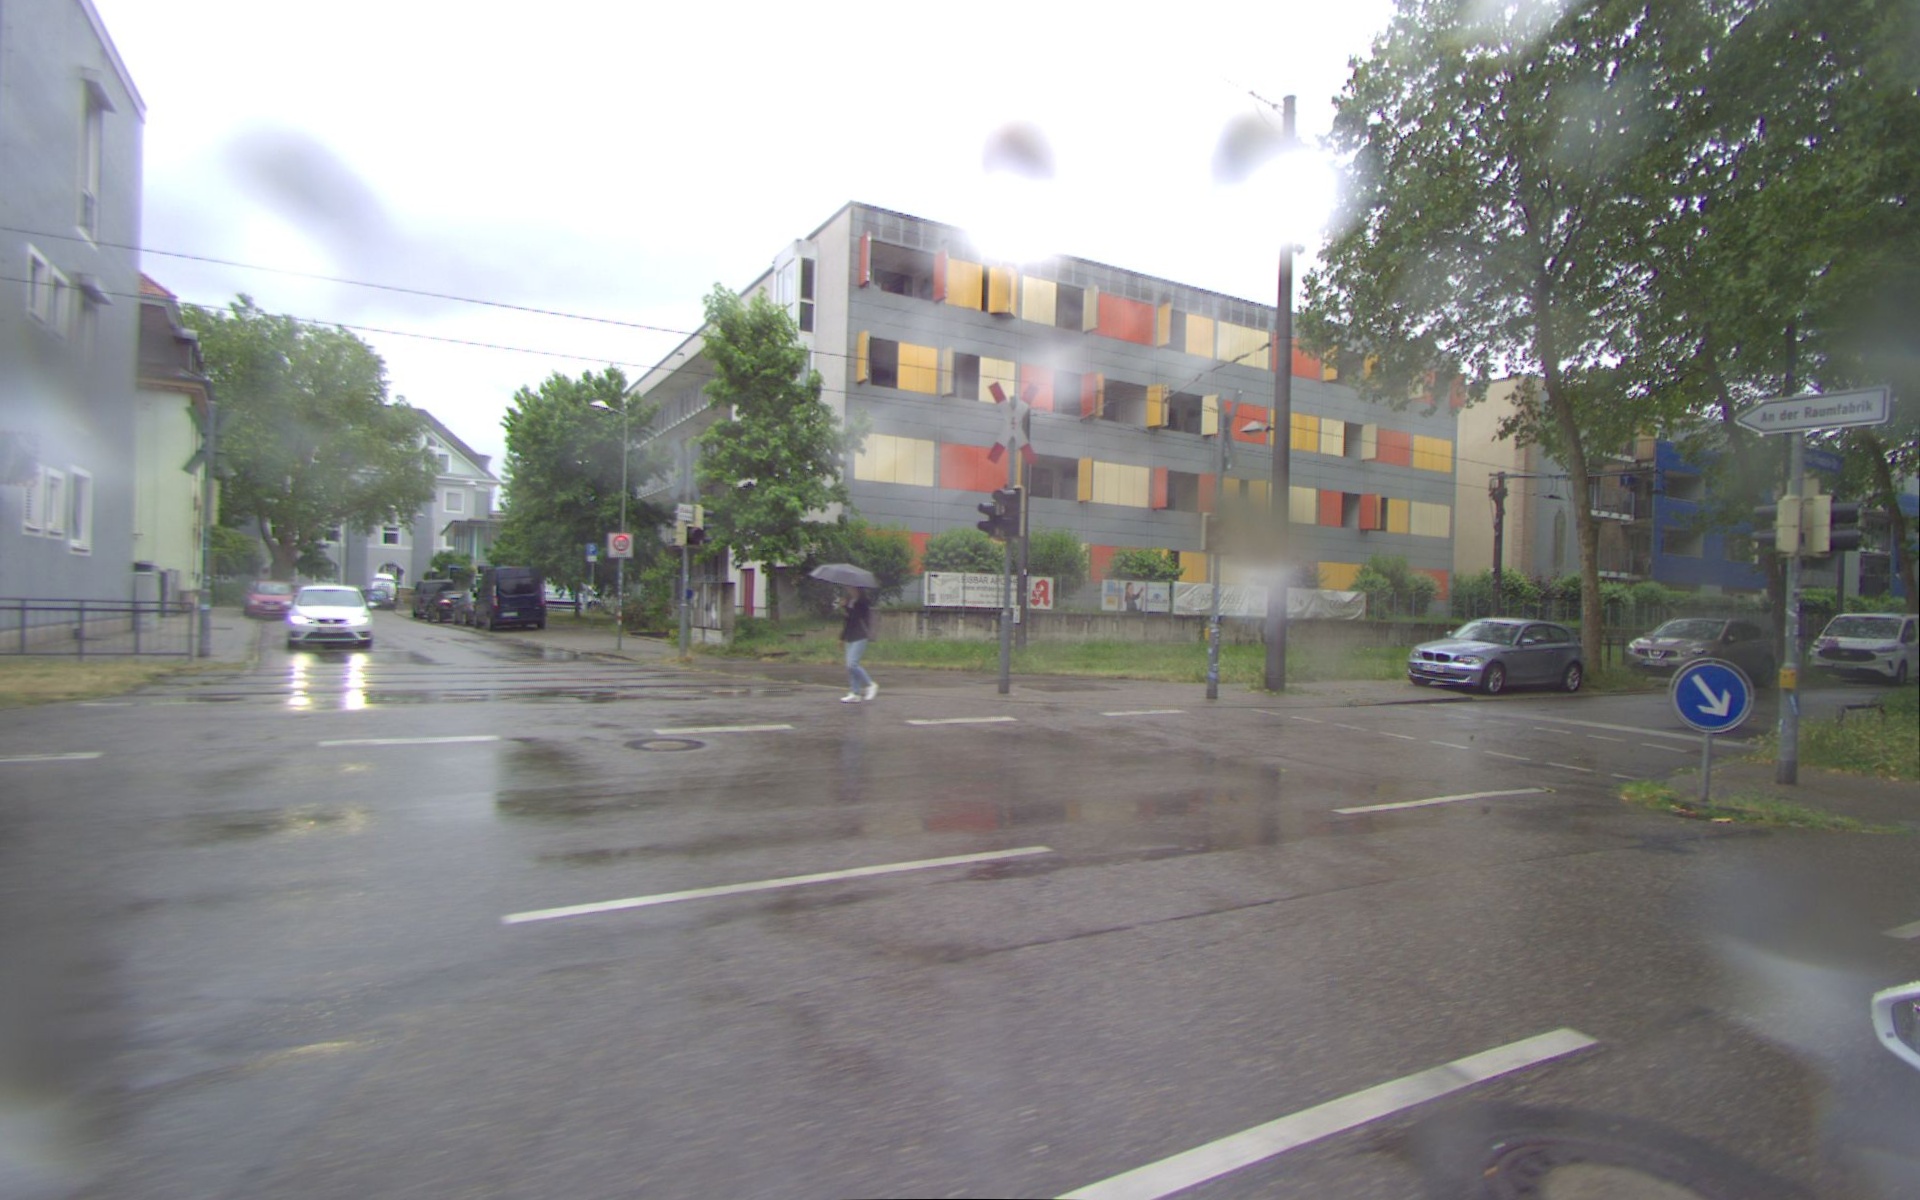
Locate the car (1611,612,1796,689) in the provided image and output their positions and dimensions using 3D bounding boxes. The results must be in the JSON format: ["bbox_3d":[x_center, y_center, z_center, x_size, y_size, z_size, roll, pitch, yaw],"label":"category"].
[{"bbox_3d":[17.519,1.162,23.636,4.415,1.622,1.895,2,0,-30],"label":"car"}]

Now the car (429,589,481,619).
[{"bbox_3d":[-23.480,0.165,46.651,1.976,1.328,3.969,2,0,-29],"label":"car"}]

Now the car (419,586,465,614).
[{"bbox_3d":[-26.554,-0.016,51.437,1.976,1.328,3.969,2,0,-29],"label":"car"}]

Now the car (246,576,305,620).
[{"bbox_3d":[-29.772,-0.099,43.792,1.979,1.773,3.963,3,-1,-33],"label":"car"}]

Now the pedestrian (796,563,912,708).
[{"bbox_3d":[-1.403,0.460,13.293,1.192,1.824,0.931,2,0,-30],"label":"pedestrian"}]

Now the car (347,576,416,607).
[{"bbox_3d":[-40.635,-0.572,70.643,3.947,2.040,1.987,2,0,-26],"label":"car"}]

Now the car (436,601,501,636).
[{"bbox_3d":[-20.580,0.738,42.018,1.979,1.328,3.964,2,0,-33],"label":"car"}]

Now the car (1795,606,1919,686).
[{"bbox_3d":[26.529,1.295,29.120,5.378,2.024,2.041,2,2,-34],"label":"car"}]

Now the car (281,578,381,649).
[{"bbox_3d":[-15.193,0.289,24.284,1.868,1.548,4.054,2,0,-32],"label":"car"}]

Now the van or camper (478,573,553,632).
[{"bbox_3d":[-16.827,0.062,37.903,1.979,2.040,3.964,2,1,-33],"label":"van or camper"}]

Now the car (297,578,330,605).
[{"bbox_3d":[-40.181,-0.558,62.460,1.659,1.558,3.964,3,-1,-32],"label":"car"}]

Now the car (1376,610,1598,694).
[{"bbox_3d":[10.709,1.030,20.368,4.335,1.483,1.896,2,0,-29],"label":"car"}]
